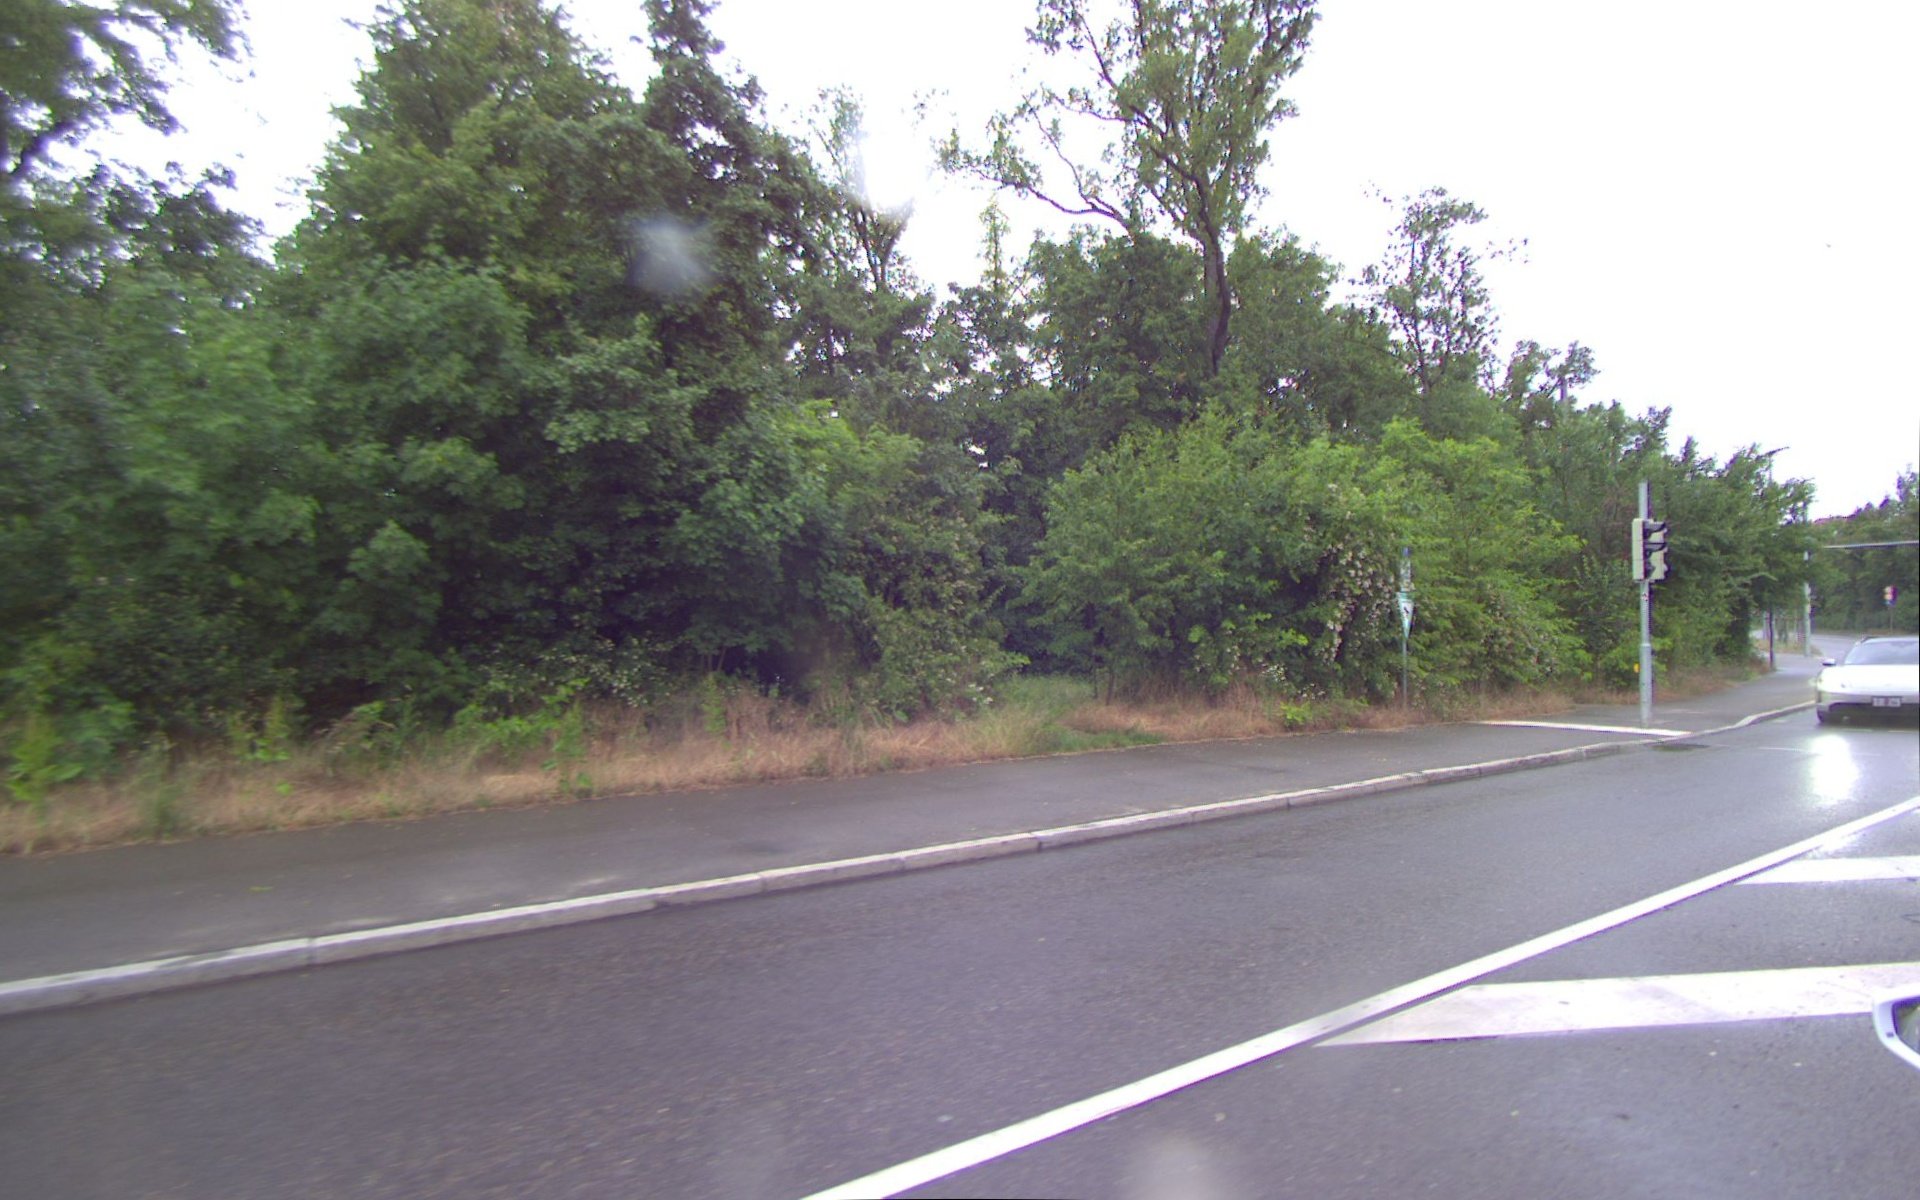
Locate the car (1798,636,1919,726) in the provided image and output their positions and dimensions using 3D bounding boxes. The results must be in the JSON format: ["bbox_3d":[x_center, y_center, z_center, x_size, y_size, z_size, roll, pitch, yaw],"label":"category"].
[{"bbox_3d":[15.990,1.303,17.055,4.325,1.328,1.977,1,-4,-41],"label":"car"}]
